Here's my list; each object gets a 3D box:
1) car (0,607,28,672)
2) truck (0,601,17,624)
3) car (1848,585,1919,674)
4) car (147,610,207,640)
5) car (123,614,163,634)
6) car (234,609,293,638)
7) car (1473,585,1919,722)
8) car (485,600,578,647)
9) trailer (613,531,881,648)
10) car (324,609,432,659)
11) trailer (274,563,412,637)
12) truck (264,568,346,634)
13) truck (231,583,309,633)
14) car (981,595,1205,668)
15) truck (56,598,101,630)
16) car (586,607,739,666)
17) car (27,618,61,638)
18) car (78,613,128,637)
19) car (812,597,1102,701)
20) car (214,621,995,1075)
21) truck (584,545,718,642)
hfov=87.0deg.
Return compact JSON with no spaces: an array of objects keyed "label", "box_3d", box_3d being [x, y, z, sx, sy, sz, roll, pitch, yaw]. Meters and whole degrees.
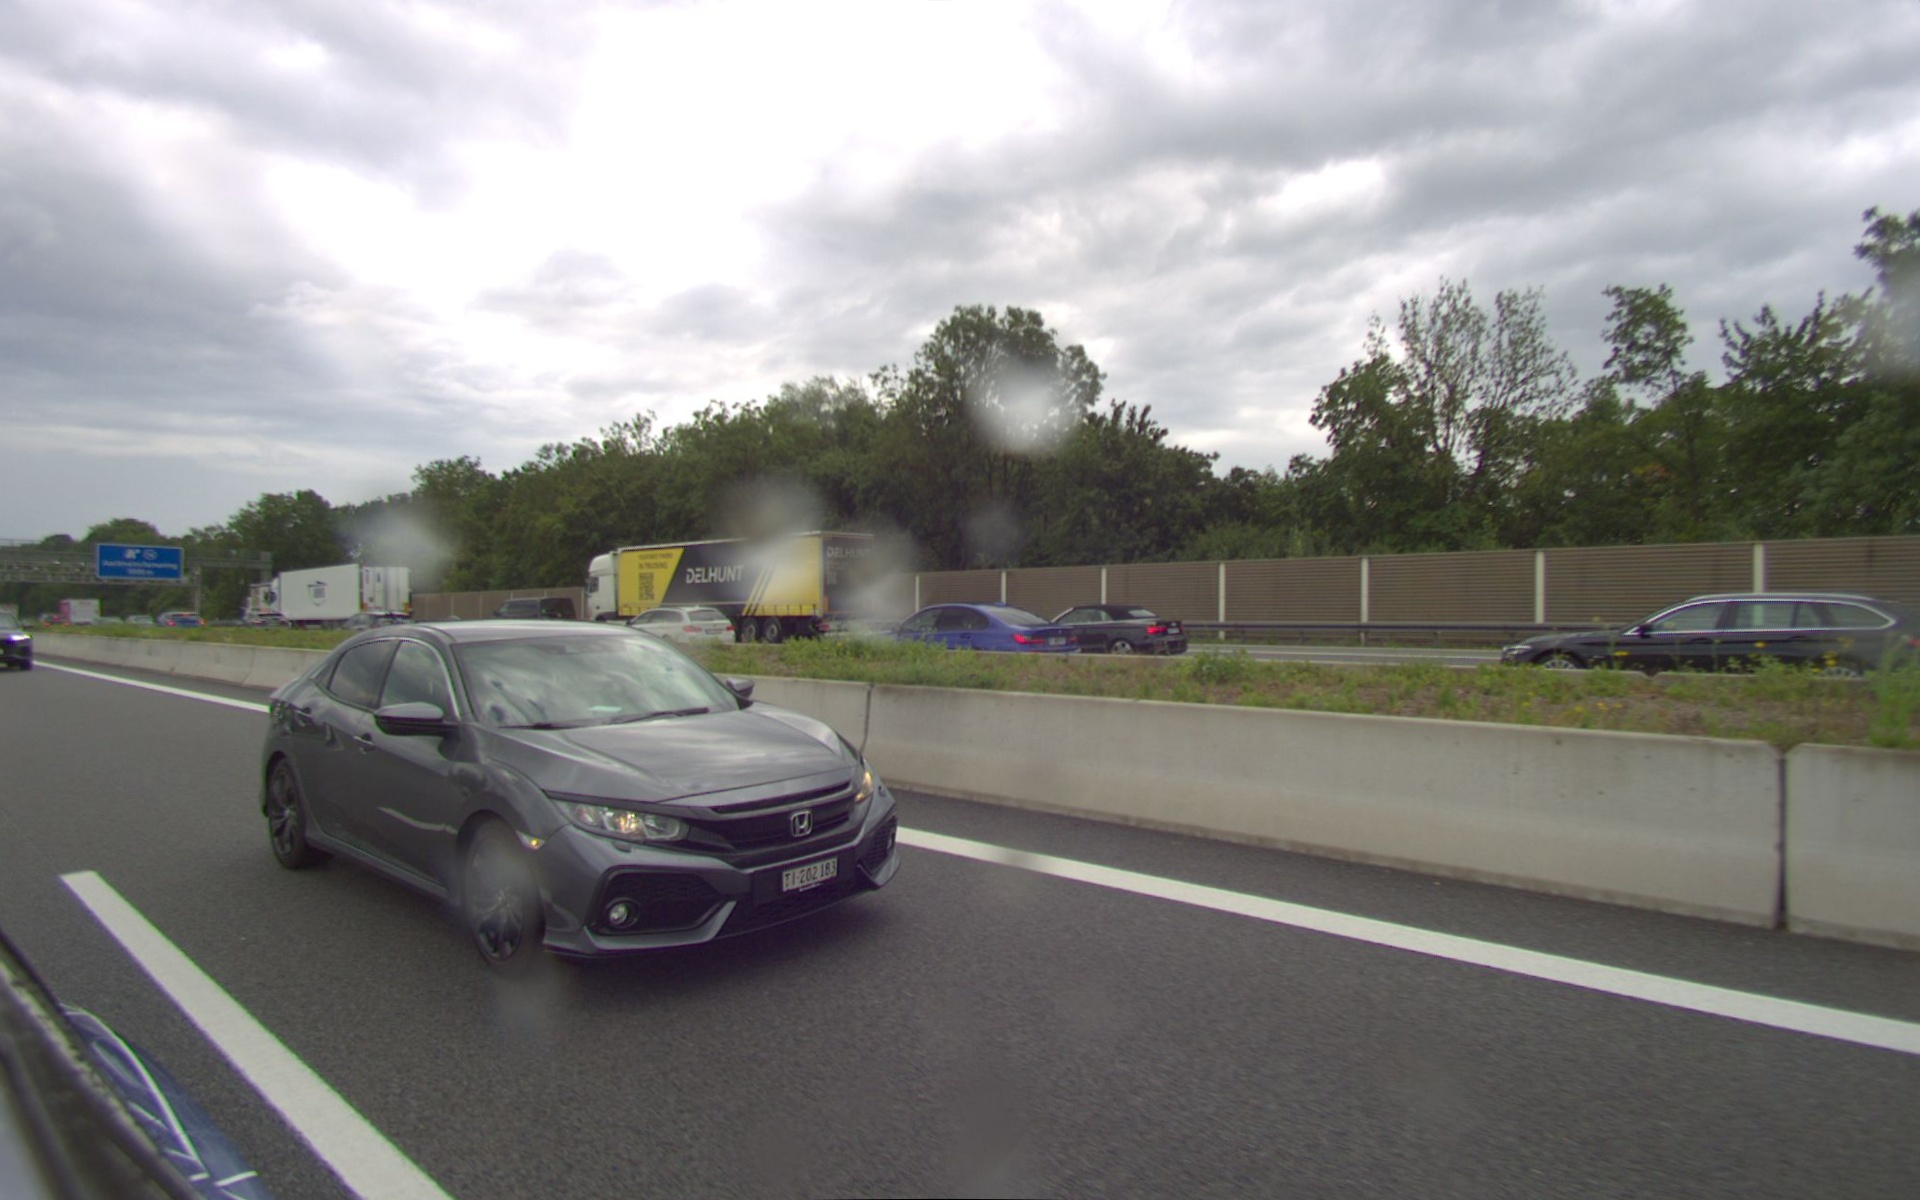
[{"label":"car","box_3d":[-27.105,1.057,27.797,5.169,1.704,1.887,-1,0,44]},{"label":"truck","box_3d":[-169.655,2.225,178.888,10.837,4.059,3.161,-1,0,41]},{"label":"car","box_3d":[18.147,0.477,16.741,5.158,1.507,1.747,-1,0,41]},{"label":"car","box_3d":[-43.167,1.376,55.777,4.580,1.548,1.747,-1,0,41]},{"label":"car","box_3d":[-65.653,1.925,81.297,4.580,1.548,1.747,-1,0,41]},{"label":"car","box_3d":[-38.836,1.297,56.408,3.998,1.548,1.740,-1,0,41]},{"label":"car","box_3d":[10.147,0.617,13.416,5.710,1.560,1.747,-1,0,41]},{"label":"car","box_3d":[-18.855,1.000,44.412,5.036,1.909,1.747,-1,0,41]},{"label":"trailer","box_3d":[-8.981,-0.318,40.348,14.047,3.993,2.649,-1,0,42]},{"label":"car","box_3d":[-19.786,1.111,34.335,4.580,1.548,1.747,-1,0,41]},{"label":"trailer","box_3d":[-36.213,0.043,59.000,14.045,3.915,2.697,-1,0,41]},{"label":"truck","box_3d":[-40.777,0.094,62.967,6.000,3.915,2.697,-1,0,41]},{"label":"truck","box_3d":[-56.701,0.672,83.053,10.003,3.863,2.770,-1,0,41]},{"label":"car","box_3d":[3.049,0.699,24.000,5.158,1.548,1.747,-1,0,41]},{"label":"truck","box_3d":[-83.039,1.333,95.325,6.246,2.849,2.305,-1,0,41]},{"label":"car","box_3d":[-8.774,1.004,29.614,5.237,1.548,1.747,-1,0,41]},{"label":"car","box_3d":[-72.215,2.194,79.784,3.546,1.548,1.572,-1,0,41]},{"label":"car","box_3d":[-57.934,1.680,68.403,3.998,1.548,1.973,-1,0,41]},{"label":"car","box_3d":[-0.198,0.760,17.557,5.158,1.548,1.747,-1,0,41]},{"label":"car","box_3d":[-2.319,0.824,5.493,5.057,1.379,1.742,-1,-1,41]},{"label":"truck","box_3d":[-13.649,-0.256,44.507,6.440,3.993,2.649,-1,0,42]}]
